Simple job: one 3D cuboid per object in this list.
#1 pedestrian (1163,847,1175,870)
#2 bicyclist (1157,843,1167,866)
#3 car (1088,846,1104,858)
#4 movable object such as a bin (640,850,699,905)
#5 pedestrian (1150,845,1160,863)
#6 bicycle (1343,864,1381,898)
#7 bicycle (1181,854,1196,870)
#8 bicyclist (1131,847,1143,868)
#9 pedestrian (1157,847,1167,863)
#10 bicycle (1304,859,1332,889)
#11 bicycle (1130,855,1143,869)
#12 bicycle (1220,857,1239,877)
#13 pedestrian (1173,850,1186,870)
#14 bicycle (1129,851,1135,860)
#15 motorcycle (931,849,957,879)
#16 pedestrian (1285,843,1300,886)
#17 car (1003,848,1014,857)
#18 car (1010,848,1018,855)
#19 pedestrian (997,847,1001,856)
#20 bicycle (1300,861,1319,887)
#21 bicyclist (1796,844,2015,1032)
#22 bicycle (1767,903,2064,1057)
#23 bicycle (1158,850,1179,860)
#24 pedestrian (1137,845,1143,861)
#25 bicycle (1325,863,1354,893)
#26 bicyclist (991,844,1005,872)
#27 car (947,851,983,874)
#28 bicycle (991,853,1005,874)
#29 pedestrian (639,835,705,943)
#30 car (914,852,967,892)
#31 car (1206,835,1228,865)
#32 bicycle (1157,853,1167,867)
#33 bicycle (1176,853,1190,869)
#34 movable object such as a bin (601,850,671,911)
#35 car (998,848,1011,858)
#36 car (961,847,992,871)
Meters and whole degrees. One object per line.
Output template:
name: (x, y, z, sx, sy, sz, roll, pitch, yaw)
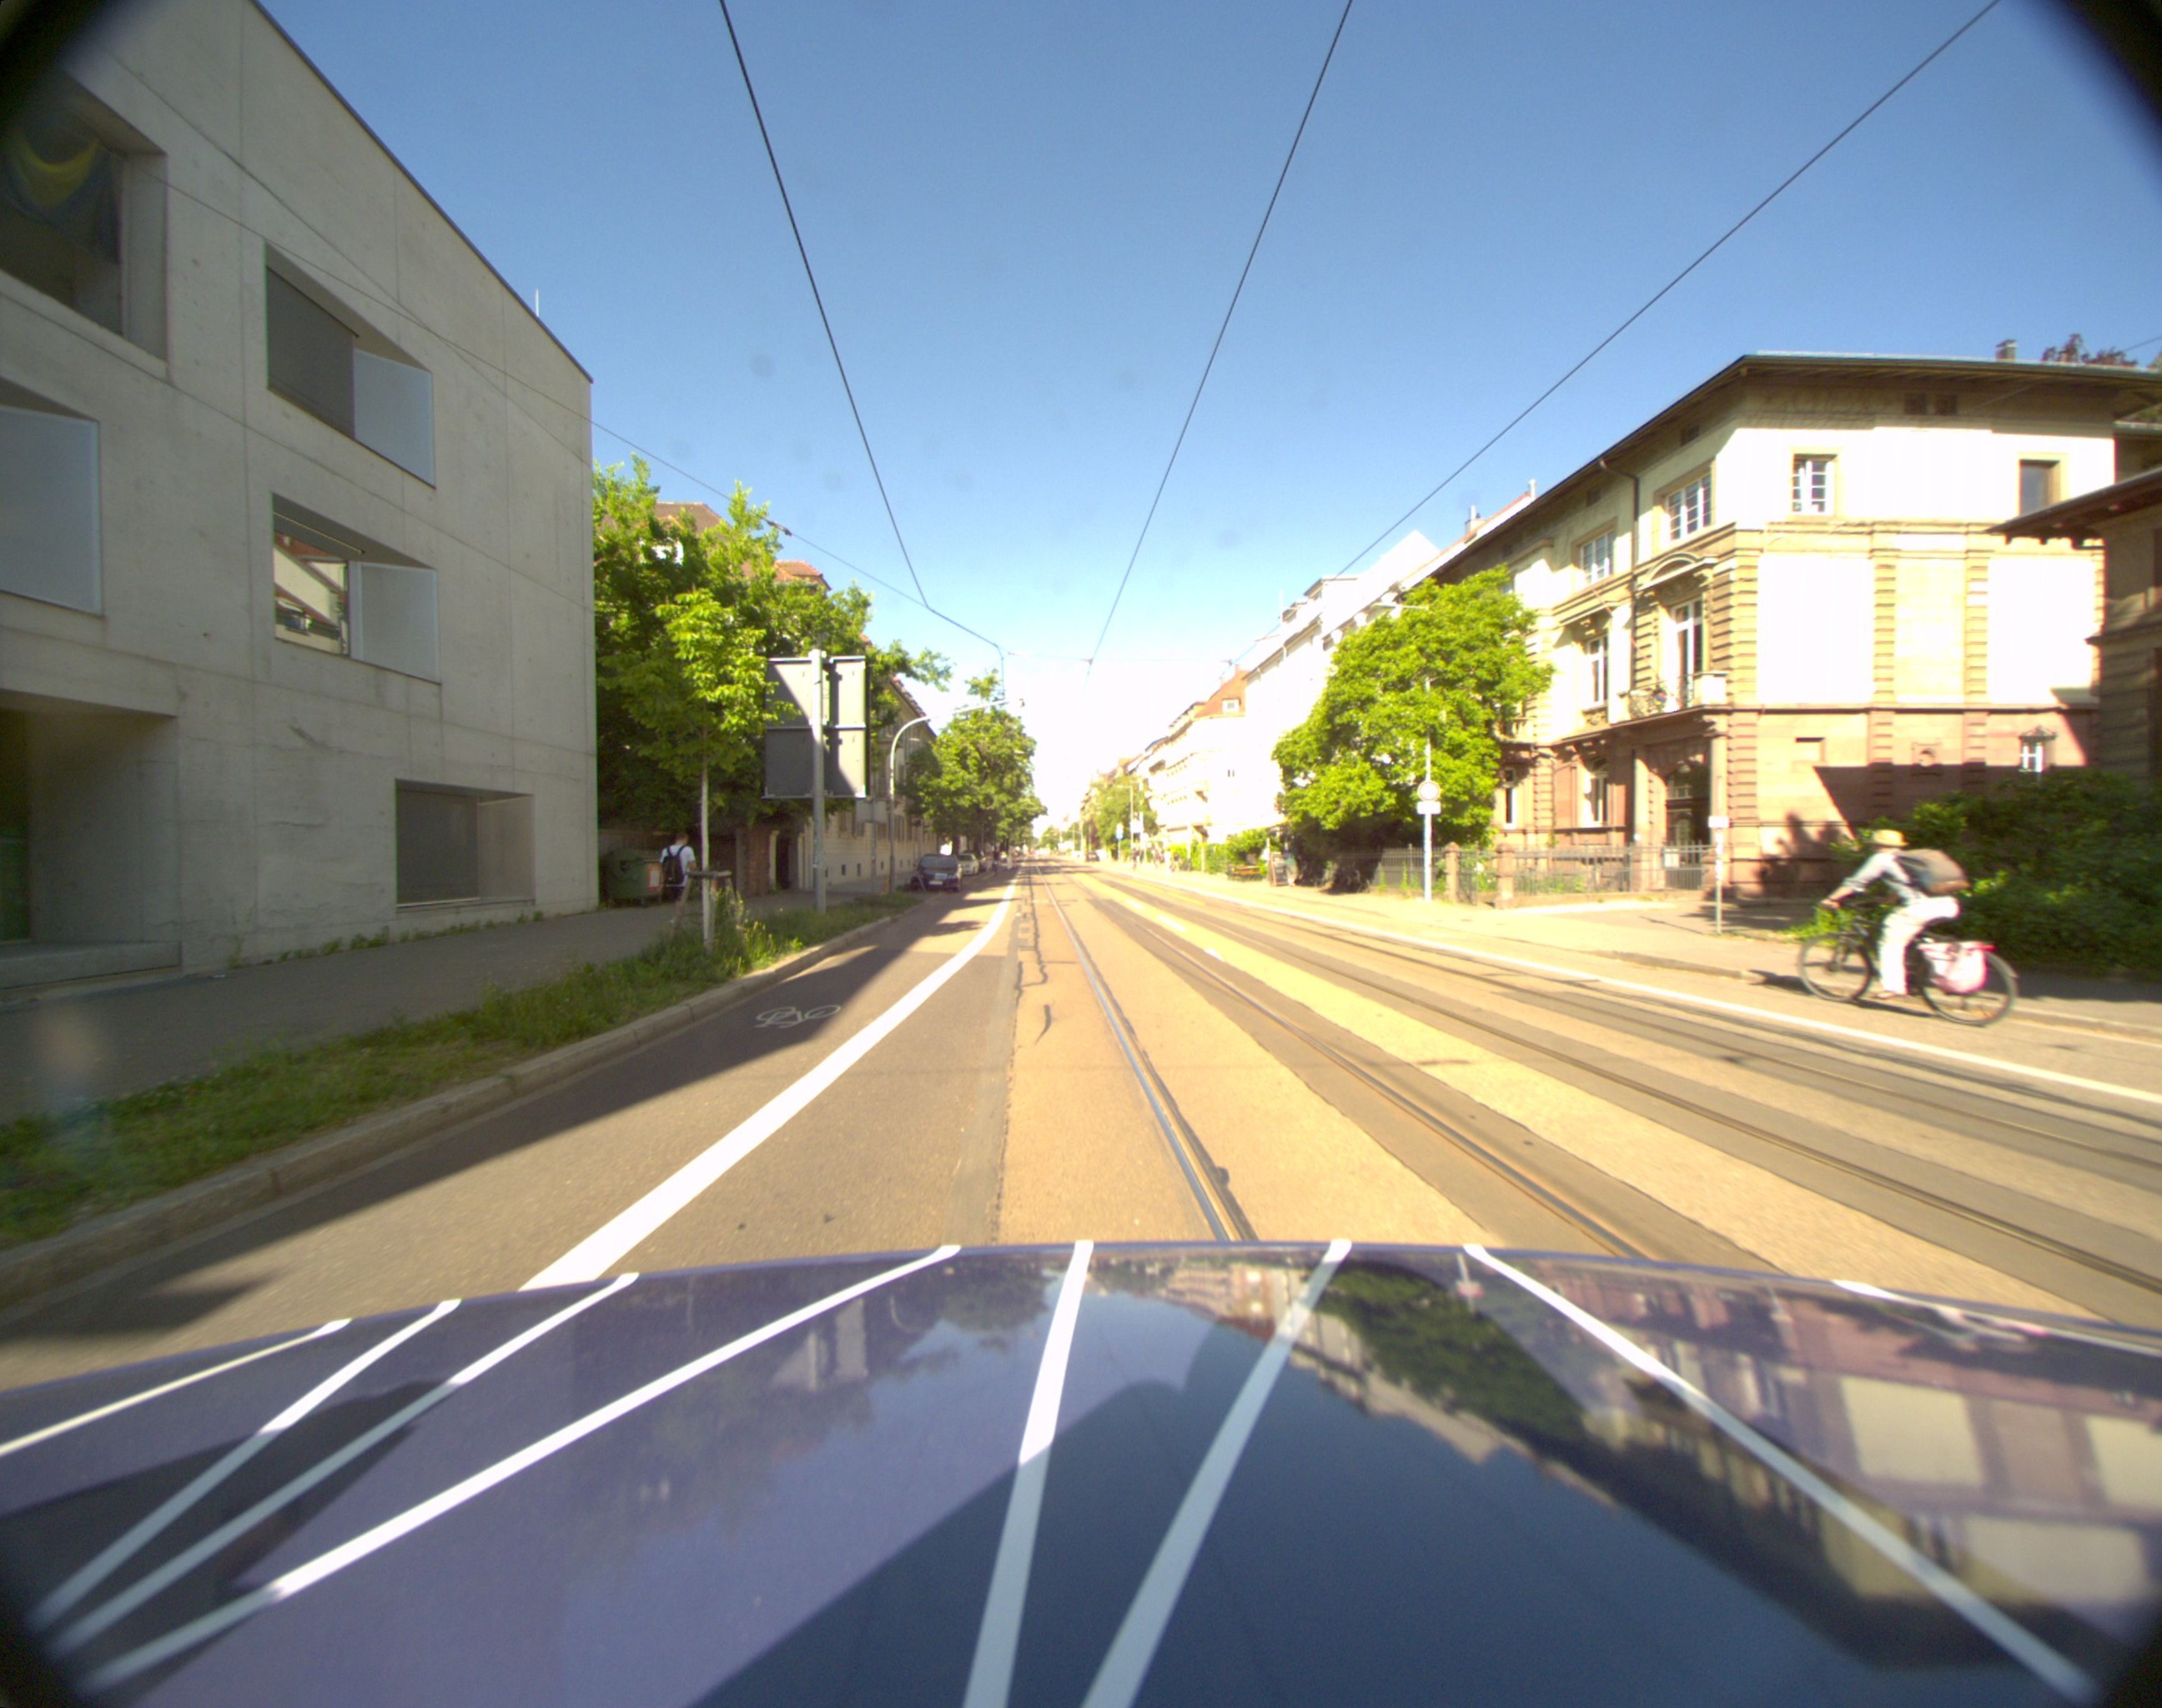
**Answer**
pedestrian: (6.518, 0.328, 56.359, 0.757, 1.704, 0.808, -2, 1, -3)
bicyclist: (6.763, 0.018, 63.415, 0.706, 1.843, 0.986, 0, 2, 9)
car: (2.070, -0.317, 108.985, 1.870, 1.567, 4.586, 1, 1, -4)
movable object such as a bin: (-11.270, 0.615, 20.865, 0.936, 1.455, 1.331, -1, 1, -5)
pedestrian: (7.691, -0.006, 78.853, 0.691, 1.758, 0.868, 1, 1, 41)
bicycle: (9.768, 0.920, 26.466, 0.591, 1.039, 1.904, -2, 1, 0)
bicycle: (7.813, 0.571, 55.332, 0.663, 1.083, 1.839, -3, 2, -3)
bicyclist: (4.394, 0.243, 60.032, 0.747, 1.590, 1.117, 3, 1, -2)
pedestrian: (8.479, 0.087, 79.626, 0.705, 1.645, 0.834, 1, 3, 28)
bicycle: (9.658, 0.791, 31.057, 0.647, 1.137, 1.905, -3, 1, 5)
bicycle: (4.376, 0.629, 60.039, 0.747, 1.075, 1.898, 3, 1, -2)
bicycle: (8.466, 0.732, 43.430, 0.640, 1.053, 1.742, -3, 1, -2)
pedestrian: (7.279, 0.416, 56.427, 0.757, 1.469, 0.956, -2, 1, -3)
bicycle: (5.848, 0.205, 87.235, 0.515, 1.032, 2.222, -1, 1, -3)
motorcycle: (-7.110, 0.516, 39.619, 0.916, 1.480, 2.678, 1, 1, -2)
pedestrian: (9.064, 0.454, 32.543, 0.576, 1.821, 0.690, 0, 1, 15)
car: (-12.719, -0.246, 133.068, 1.824, 1.475, 4.746, 1, 0, -6)
car: (-14.803, -0.490, 167.450, 1.762, 1.458, 4.611, 1, 0, -6)
pedestrian: (-18.360, -0.670, 170.025, 0.744, 2.002, 0.687, -1, 1, -12)
bicycle: (9.697, 0.837, 32.315, 0.637, 1.039, 2.023, 0, 1, 13)
bicyclist: (7.819, 0.731, 7.293, 0.688, 1.635, 1.237, 1, 1, 1)
bicycle: (7.809, 1.112, 7.281, 0.688, 1.118, 1.931, 1, 1, 1)
bicycle: (9.379, 0.069, 81.763, 2.244, 1.038, 0.875, 0, 2, 6)
pedestrian: (6.349, -0.090, 81.926, 0.558, 1.771, 0.538, -1, 1, -7)
bicycle: (9.731, 0.880, 28.667, 0.591, 1.039, 1.905, -2, 1, 5)
bicyclist: (-5.183, 0.221, 47.643, 0.763, 1.728, 1.046, -2, 1, -4)
car: (-7.237, 0.496, 47.886, 1.728, 1.374, 4.354, 1, 0, -2)
bicycle: (-5.169, 0.582, 47.614, 0.763, 1.235, 2.095, -2, 1, -4)
pedestrian: (-7.180, 0.595, 13.384, 0.686, 1.839, 0.955, 1, 1, -5)
car: (-5.708, 0.666, 31.246, 1.827, 1.450, 4.814, 1, 0, -7)
car: (13.529, -0.417, 75.458, 1.889, 2.825, 4.787, 0, 2, 13)
bicycle: (6.766, 0.485, 63.428, 0.706, 1.049, 1.836, 0, 2, 10)
bicycle: (7.679, 0.543, 57.294, 0.663, 1.083, 1.839, -3, 2, -3)
movable object such as a bin: (-11.078, 0.641, 18.973, 0.936, 1.455, 1.354, -1, 1, -2)
car: (-11.520, -0.105, 114.710, 1.706, 1.463, 4.212, 1, 1, -3)
car: (-7.647, 0.323, 55.790, 1.815, 1.616, 4.582, 2, 0, -3)
